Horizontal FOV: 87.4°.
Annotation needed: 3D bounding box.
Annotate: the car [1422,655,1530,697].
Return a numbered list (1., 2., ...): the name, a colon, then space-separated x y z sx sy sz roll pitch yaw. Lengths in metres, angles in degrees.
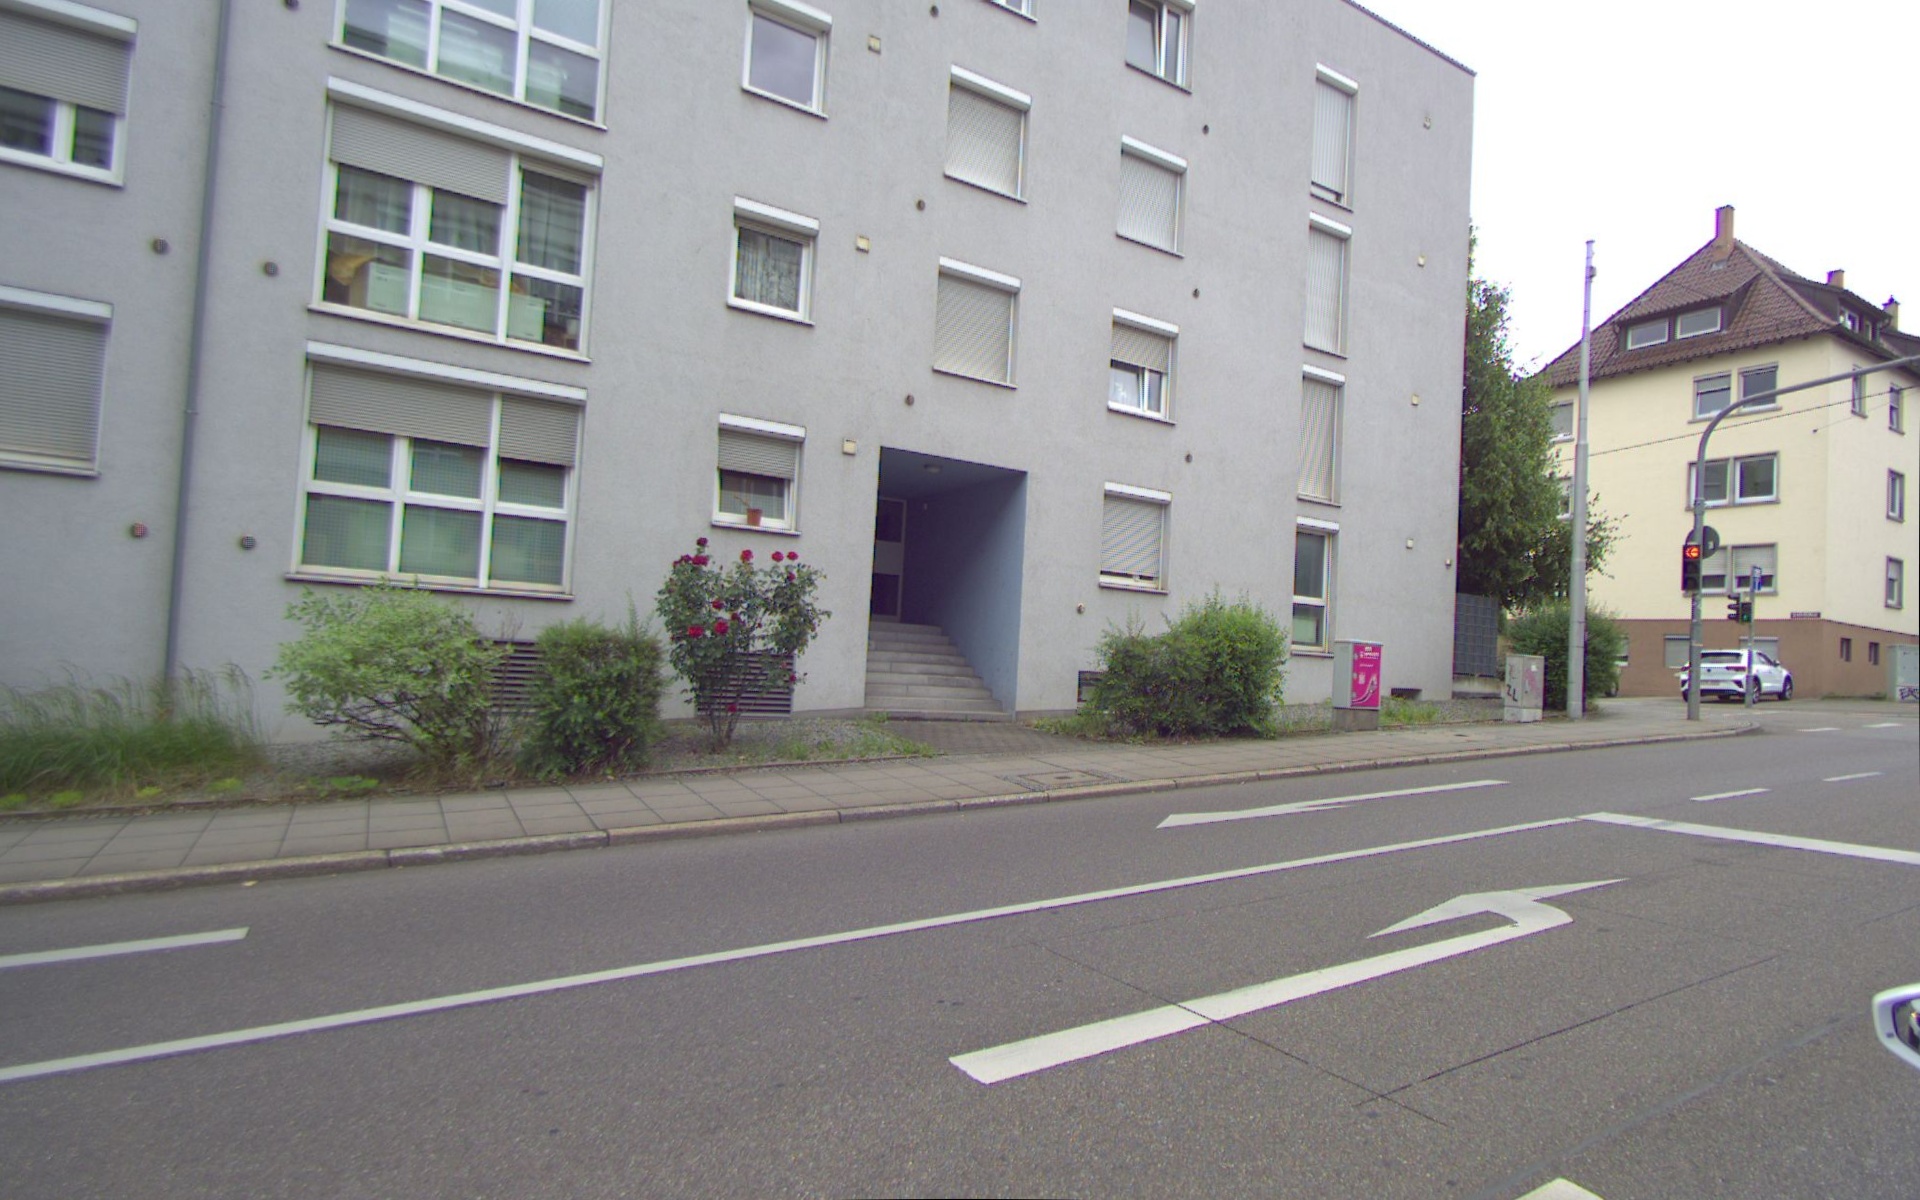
1. car: 18.907 2.752 36.754 3.953 1.380 1.662 2 -1 -30

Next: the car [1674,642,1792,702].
1. car: 23.242 2.141 30.171 3.960 1.683 1.660 2 -4 -35

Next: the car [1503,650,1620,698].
1. car: 20.622 2.508 34.405 4.053 1.566 1.662 2 -4 -30
